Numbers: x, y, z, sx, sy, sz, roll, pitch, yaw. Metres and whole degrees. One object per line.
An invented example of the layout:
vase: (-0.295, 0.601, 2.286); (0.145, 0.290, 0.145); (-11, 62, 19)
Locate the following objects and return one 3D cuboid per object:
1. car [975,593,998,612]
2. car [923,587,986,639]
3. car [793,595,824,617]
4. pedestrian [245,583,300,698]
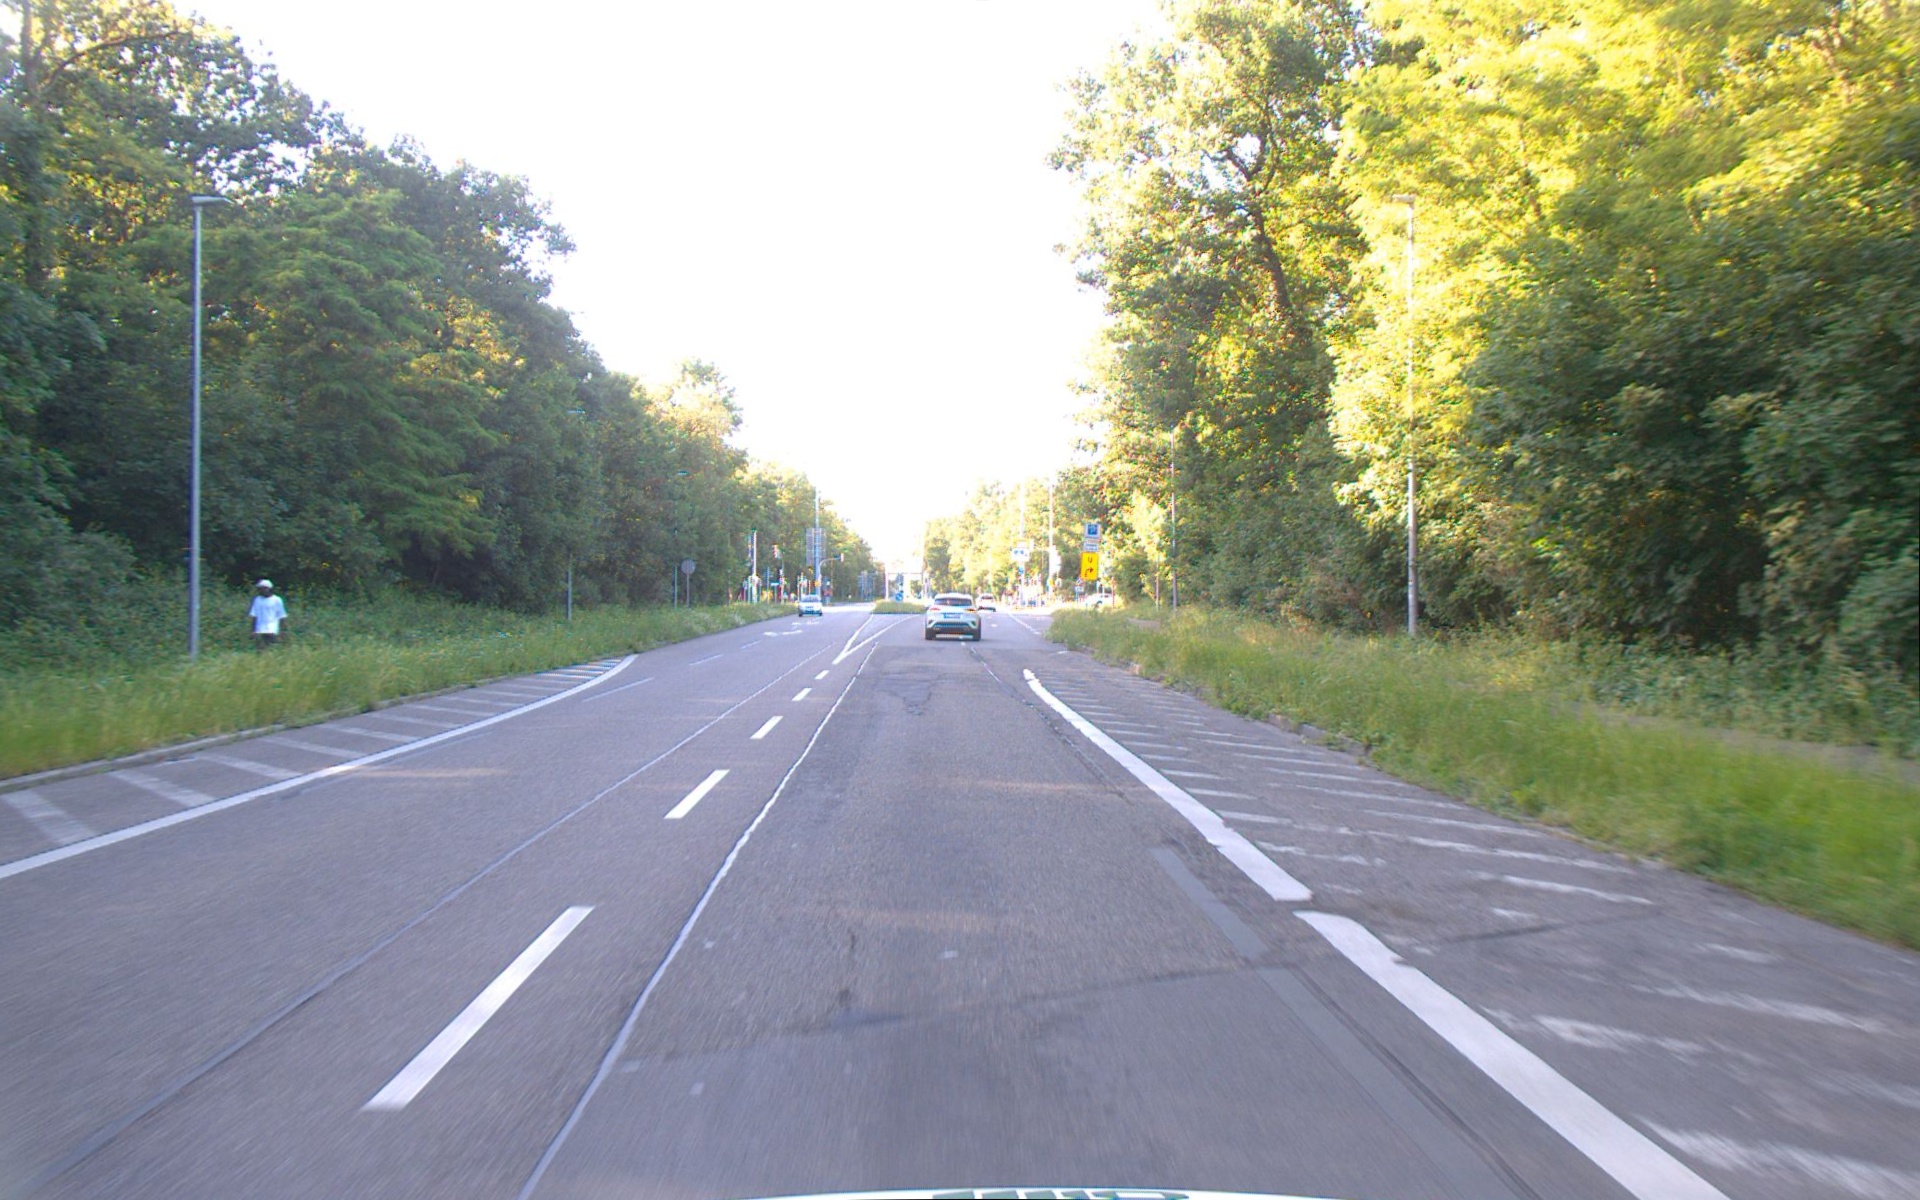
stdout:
car: (2.406, 0.212, 150.541); (1.953, 1.646, 3.999); (1, 0, -1)
car: (-0.224, 0.407, 55.224); (1.953, 1.668, 3.999); (-1, 0, -2)
car: (-10.833, 0.406, 118.566); (1.953, 1.489, 3.998); (1, 0, -2)
pedestrian: (-12.483, 0.731, 30.043); (0.679, 2.049, 0.712); (1, 0, -1)
